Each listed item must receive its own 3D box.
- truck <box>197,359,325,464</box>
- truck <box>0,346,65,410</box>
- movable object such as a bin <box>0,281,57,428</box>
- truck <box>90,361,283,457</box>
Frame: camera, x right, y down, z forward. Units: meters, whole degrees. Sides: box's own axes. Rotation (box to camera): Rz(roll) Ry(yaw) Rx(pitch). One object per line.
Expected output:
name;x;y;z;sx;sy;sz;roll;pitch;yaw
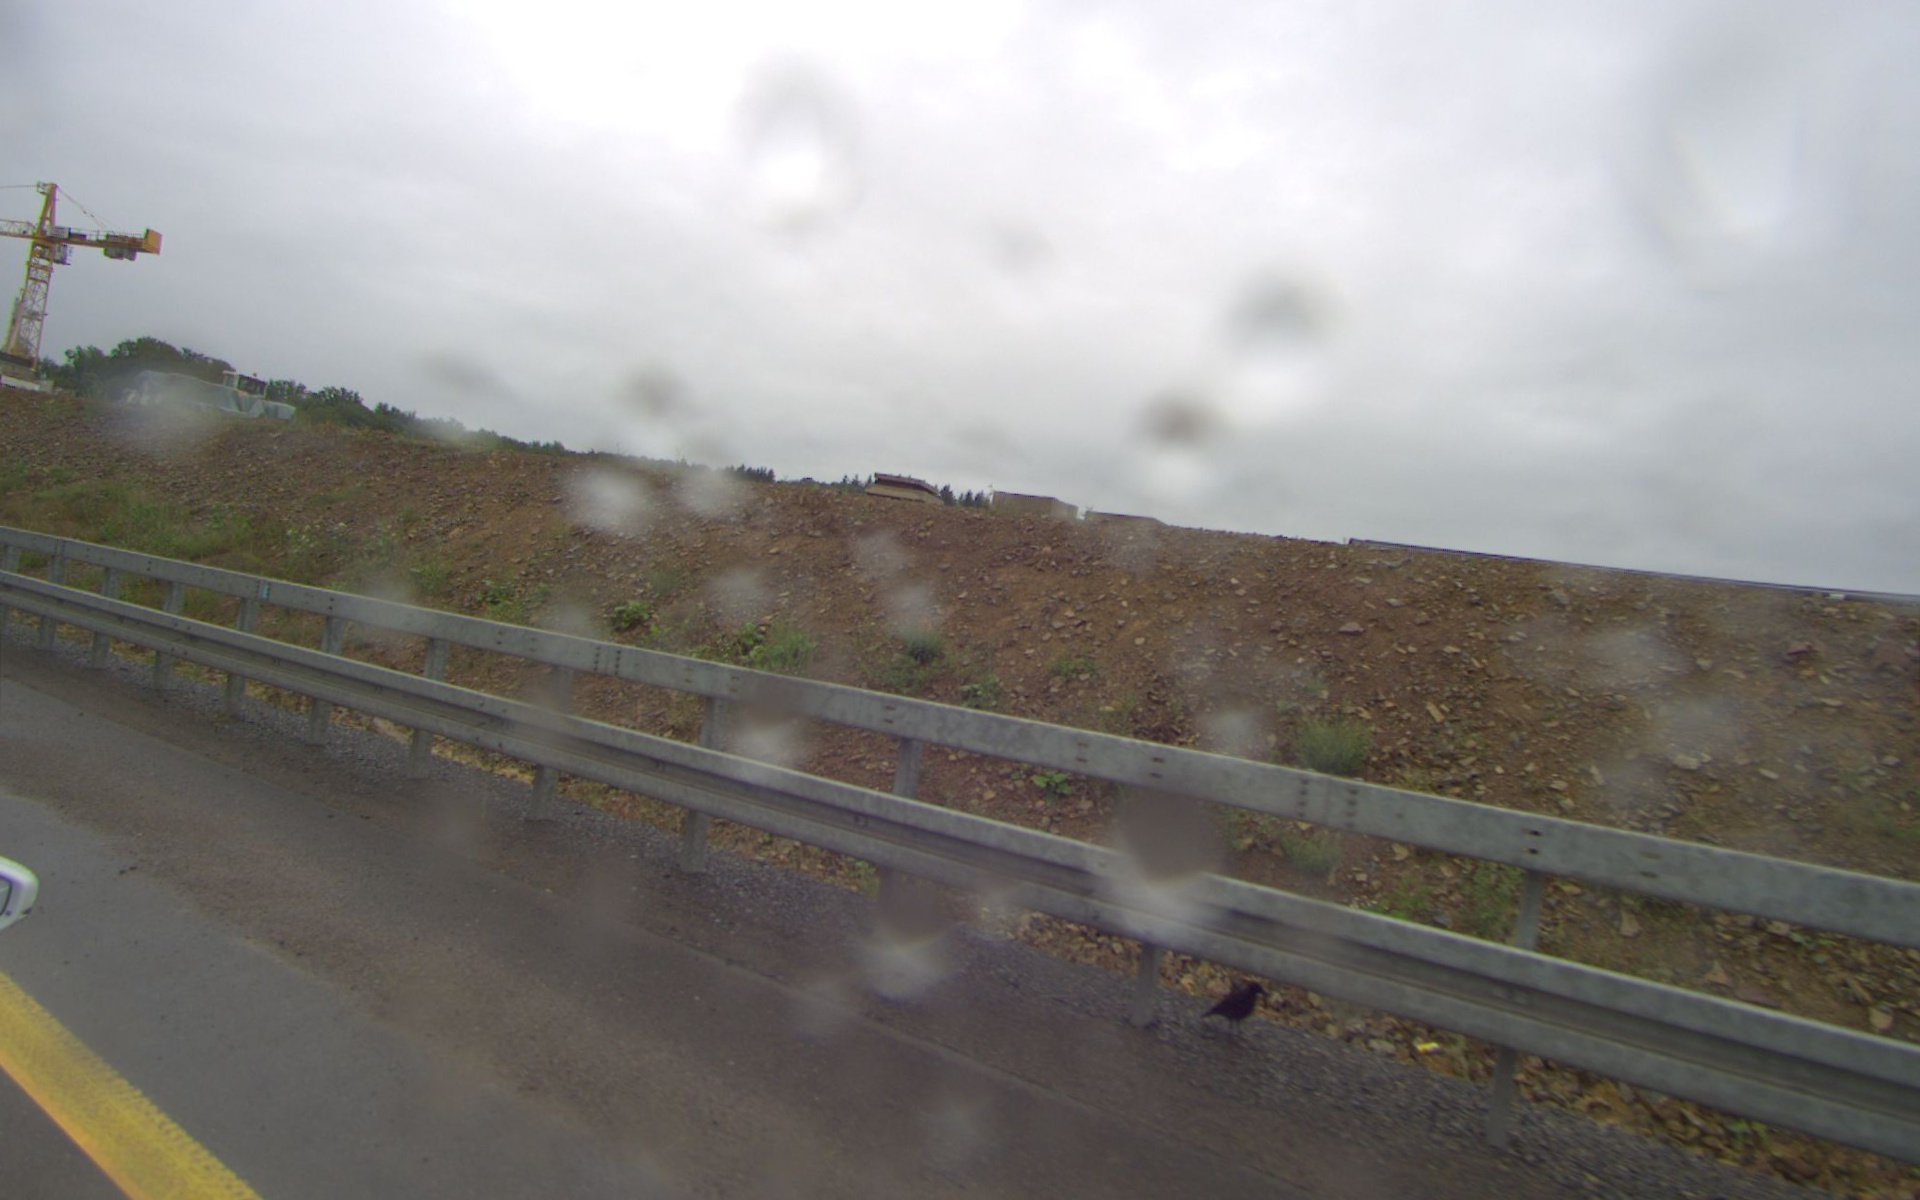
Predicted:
truck;-33.127;-8.886;47.633;5.879;4.269;2.377;7;0;31
truck;-50.421;-11.646;53.091;6.867;2.585;2.650;7;-1;31
movable object such as a bin;-82.847;-21.192;87.778;4.706;10.972;10.174;7;0;-44
truck;-32.014;-7.799;41.516;8.814;2.909;3.400;7;-1;33
